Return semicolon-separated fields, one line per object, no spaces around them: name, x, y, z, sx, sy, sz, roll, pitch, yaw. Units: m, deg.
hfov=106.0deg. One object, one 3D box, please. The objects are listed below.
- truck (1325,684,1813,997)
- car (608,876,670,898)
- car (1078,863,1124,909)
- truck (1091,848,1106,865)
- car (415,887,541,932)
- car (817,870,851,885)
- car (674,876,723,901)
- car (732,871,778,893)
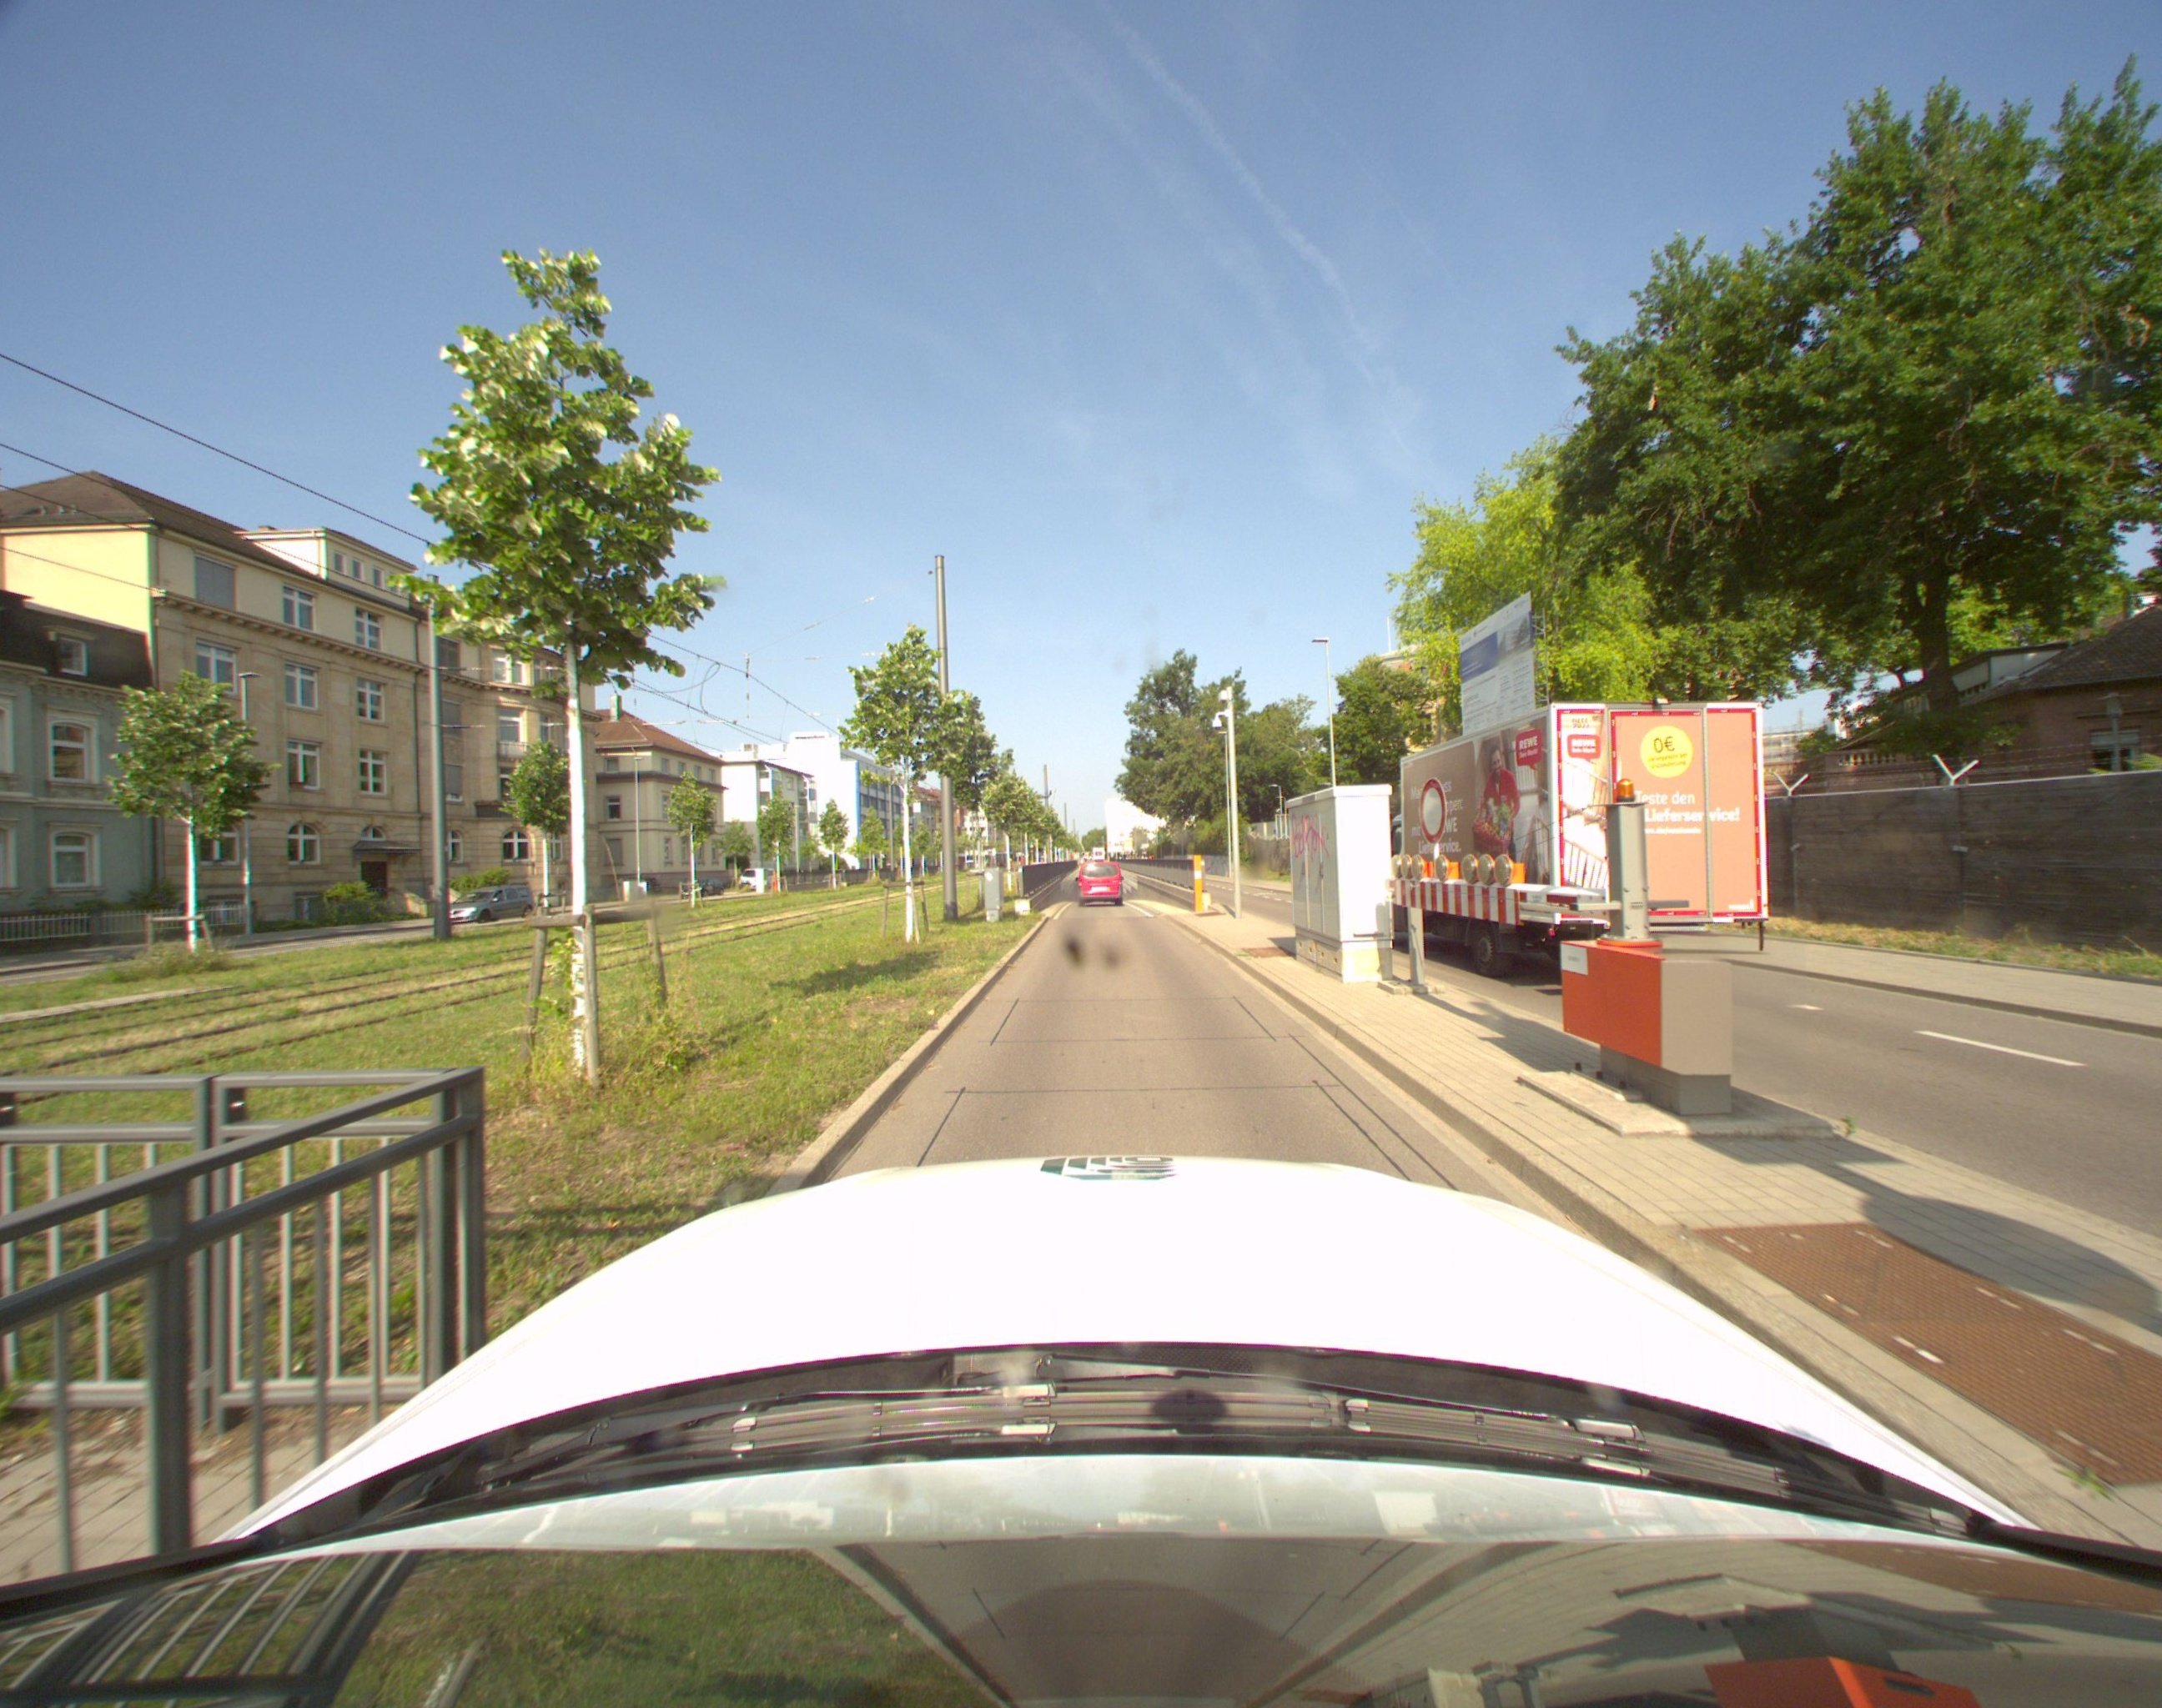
truck;5.944;-0.088;11.885;2.493;3.061;7.820;0;-1;1
car;-35.353;2.648;65.230;3.978;1.552;1.652;-3;0;-3
car;0.903;1.324;35.266;1.893;1.859;4.002;-1;0;2
truck;4.095;0.656;195.027;3.379;3.726;10.451;-3;0;0
car;-25.971;2.357;35.304;1.987;1.577;4.528;-3;0;0
car;-25.729;2.506;84.976;1.986;1.467;4.438;-2;-2;1
car;-26.201;2.333;55.965;1.514;1.464;3.824;-3;1;-1
car;-30.372;2.600;76.072;2.242;2.014;5.261;0;-2;0
